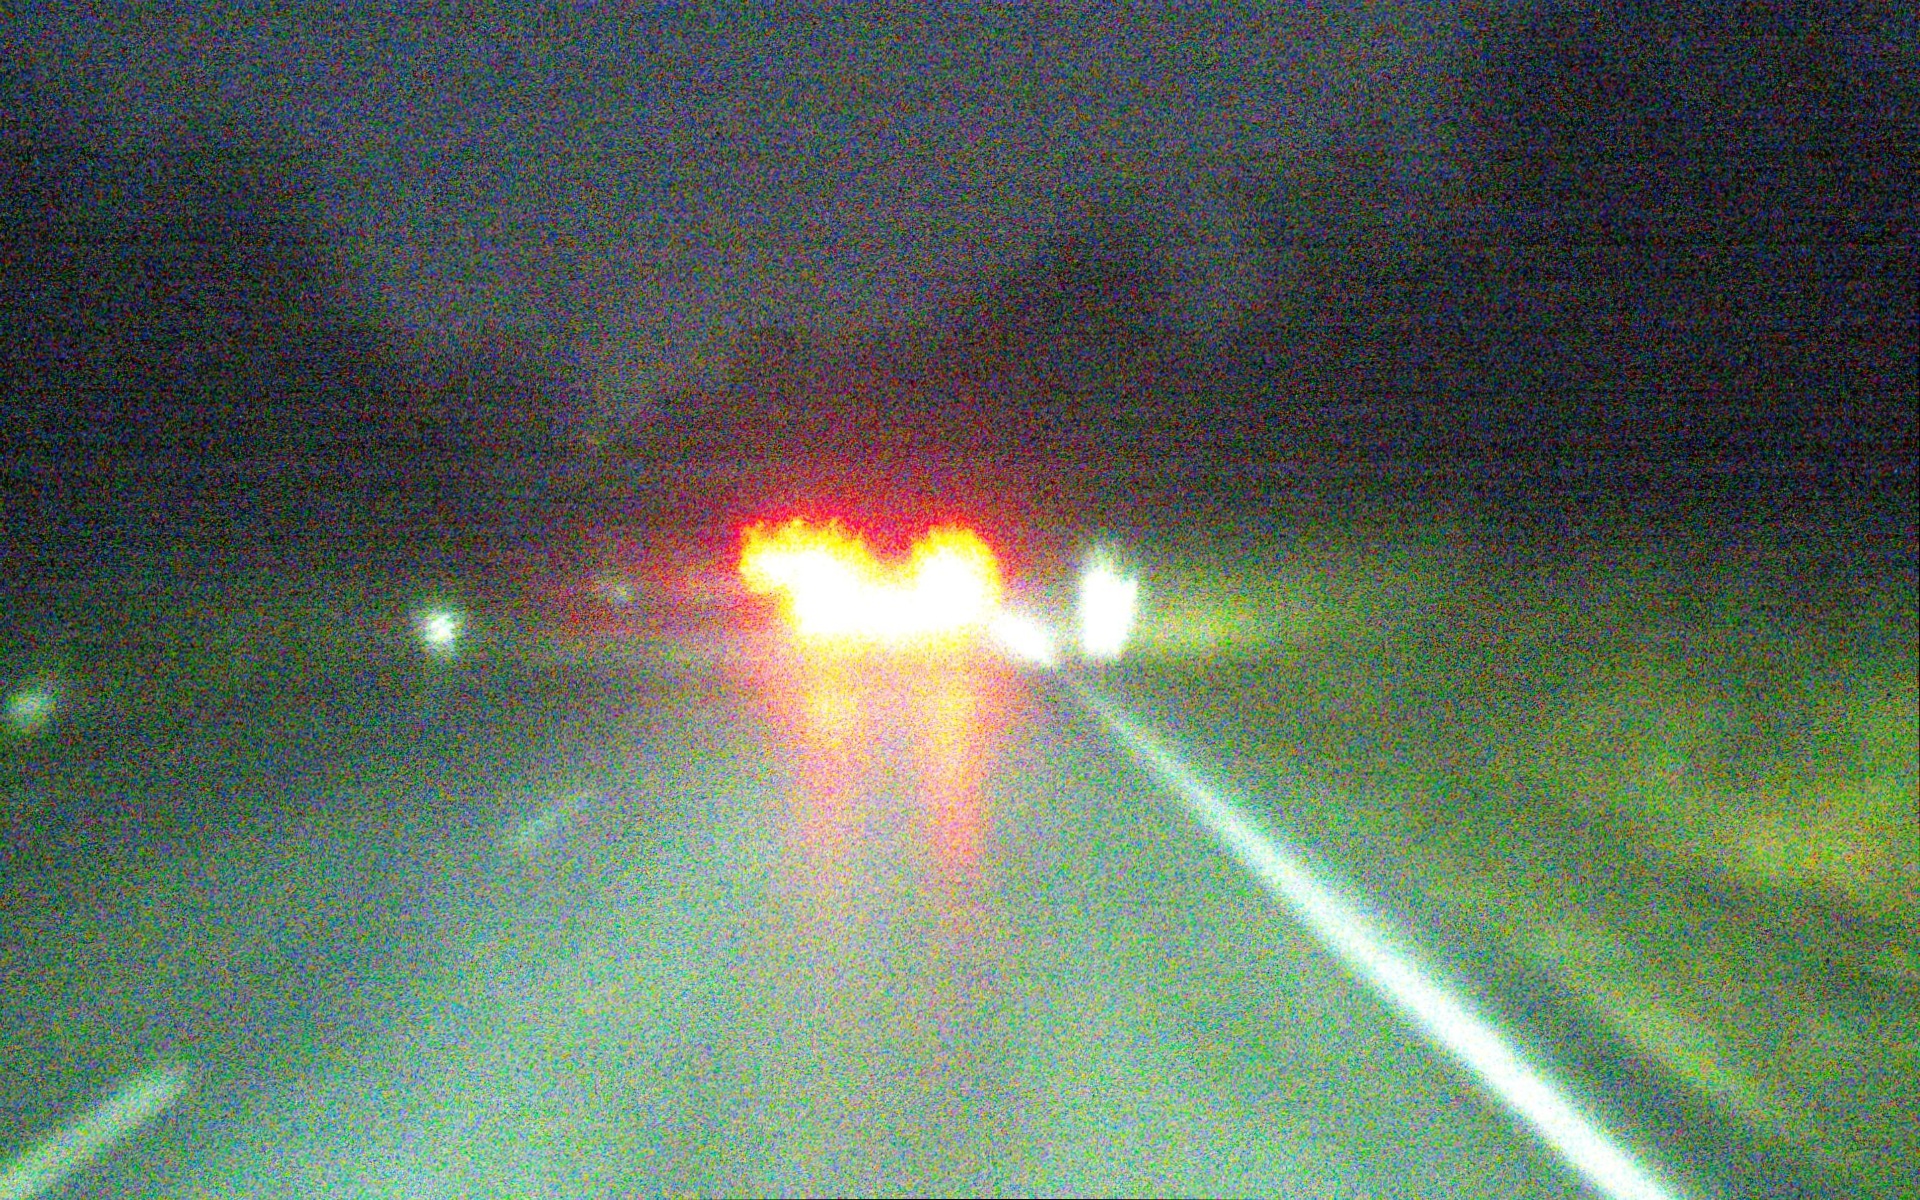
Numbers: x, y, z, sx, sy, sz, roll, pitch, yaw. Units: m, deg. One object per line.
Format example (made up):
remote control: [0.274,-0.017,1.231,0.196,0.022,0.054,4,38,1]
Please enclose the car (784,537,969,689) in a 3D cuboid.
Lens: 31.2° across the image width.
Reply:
car: [-0.928,0.115,39.913,1.993,1.622,4.985,1,1,0]
